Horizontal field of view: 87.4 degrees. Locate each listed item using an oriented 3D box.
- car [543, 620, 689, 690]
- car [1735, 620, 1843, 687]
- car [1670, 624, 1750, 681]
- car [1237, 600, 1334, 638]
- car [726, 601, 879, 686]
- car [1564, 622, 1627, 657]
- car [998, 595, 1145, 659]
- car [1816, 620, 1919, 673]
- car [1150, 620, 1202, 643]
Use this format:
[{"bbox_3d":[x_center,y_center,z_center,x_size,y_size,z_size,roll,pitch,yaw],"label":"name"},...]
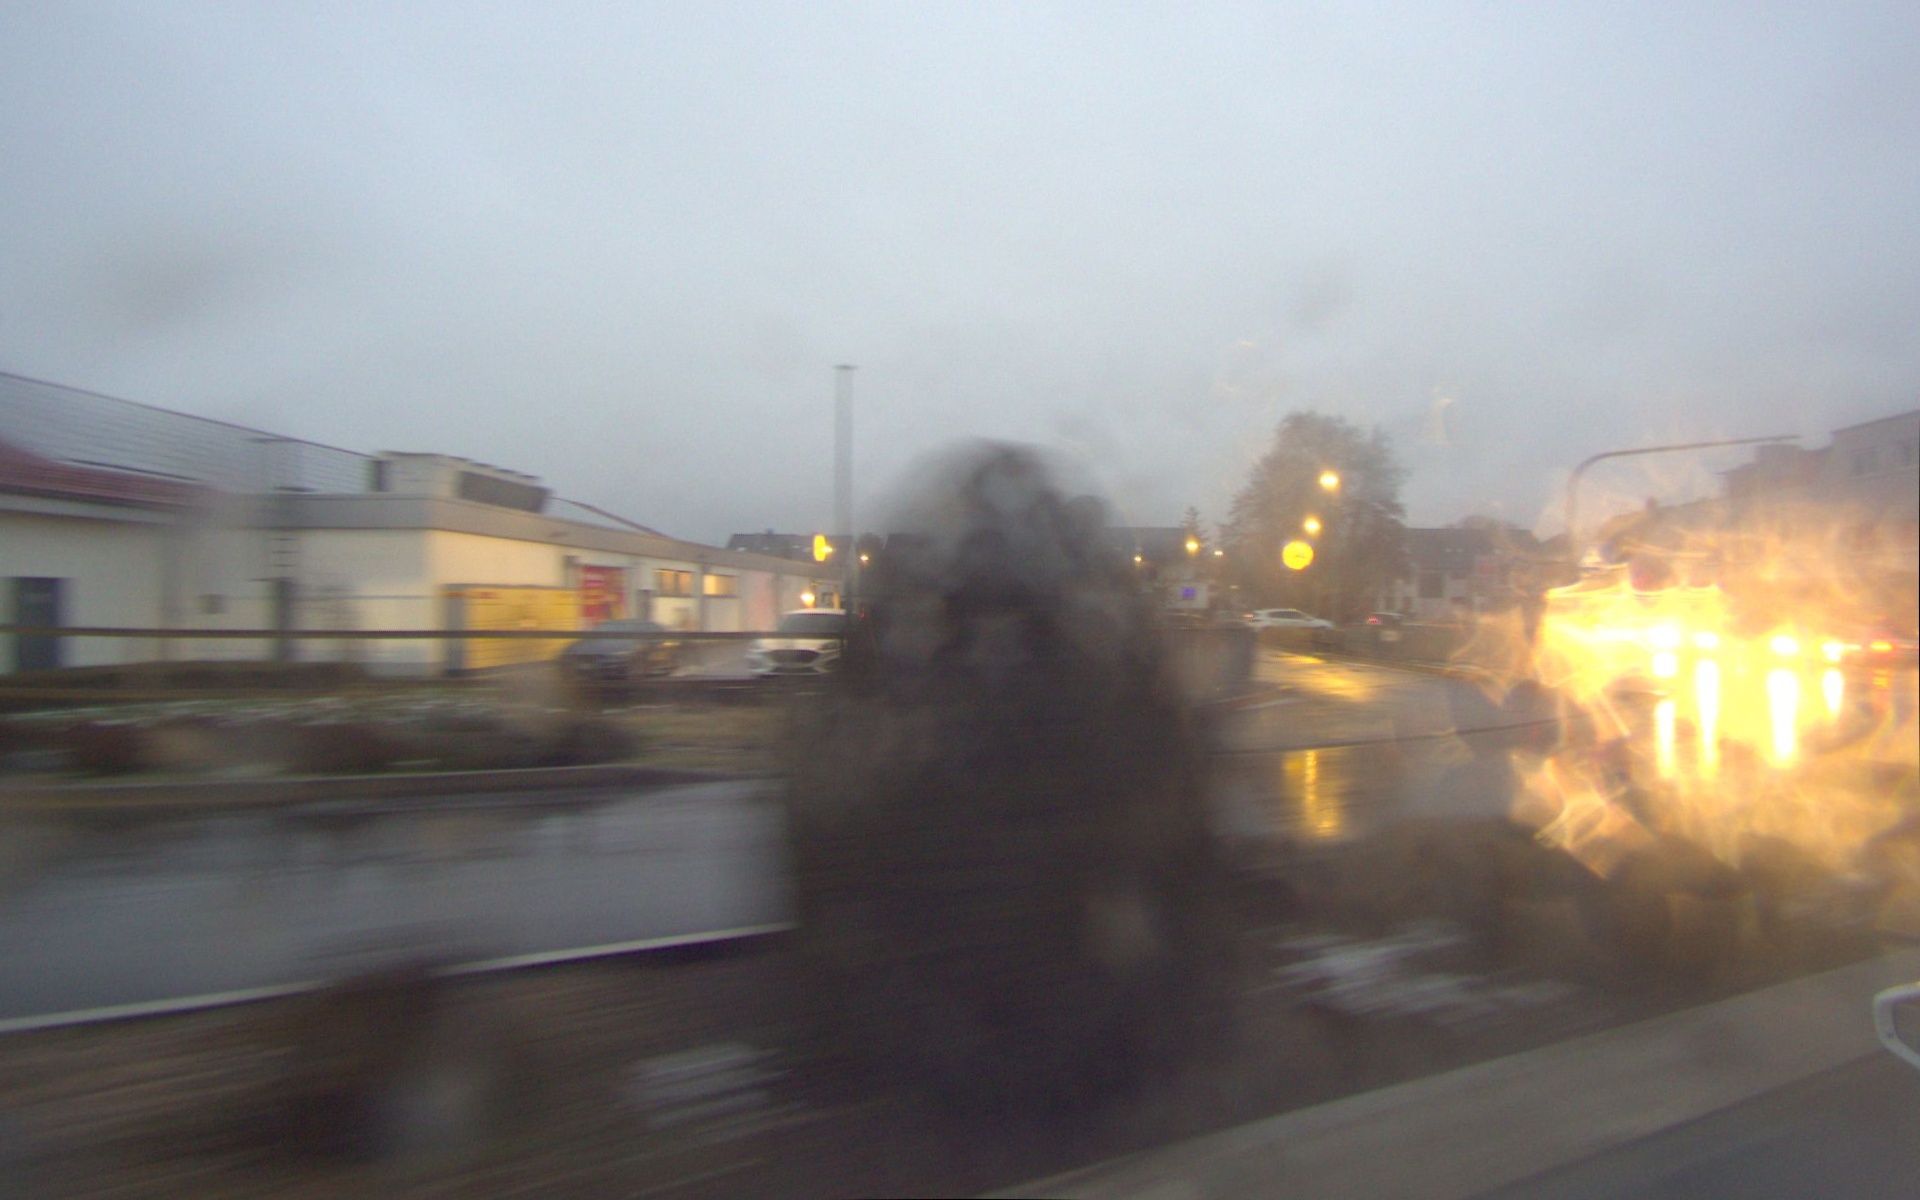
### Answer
[{"bbox_3d":[-8.059,1.232,23.942,1.805,1.329,4.001,2,1,5],"label":"car"},{"bbox_3d":[29.140,1.804,35.483,2.131,2.088,4.563,1,0,29],"label":"car"},{"bbox_3d":[30.877,2.097,41.474,2.132,2.088,4.561,1,0,30],"label":"car"},{"bbox_3d":[16.043,0.929,49.684,4.268,1.771,1.707,1,1,6],"label":"car"},{"bbox_3d":[-3.369,0.882,22.376,2.023,1.582,4.283,2,1,10],"label":"car"},{"bbox_3d":[37.822,2.324,59.901,2.029,1.858,4.572,0,0,18],"label":"car"},{"bbox_3d":[4.179,0.996,38.338,5.316,2.162,2.033,2,1,1],"label":"car"},{"bbox_3d":[34.047,1.689,37.551,2.031,1.740,4.566,1,0,26],"label":"car"},{"bbox_3d":[16.660,2.439,77.537,3.831,1.630,1.639,1,1,8],"label":"car"}]
